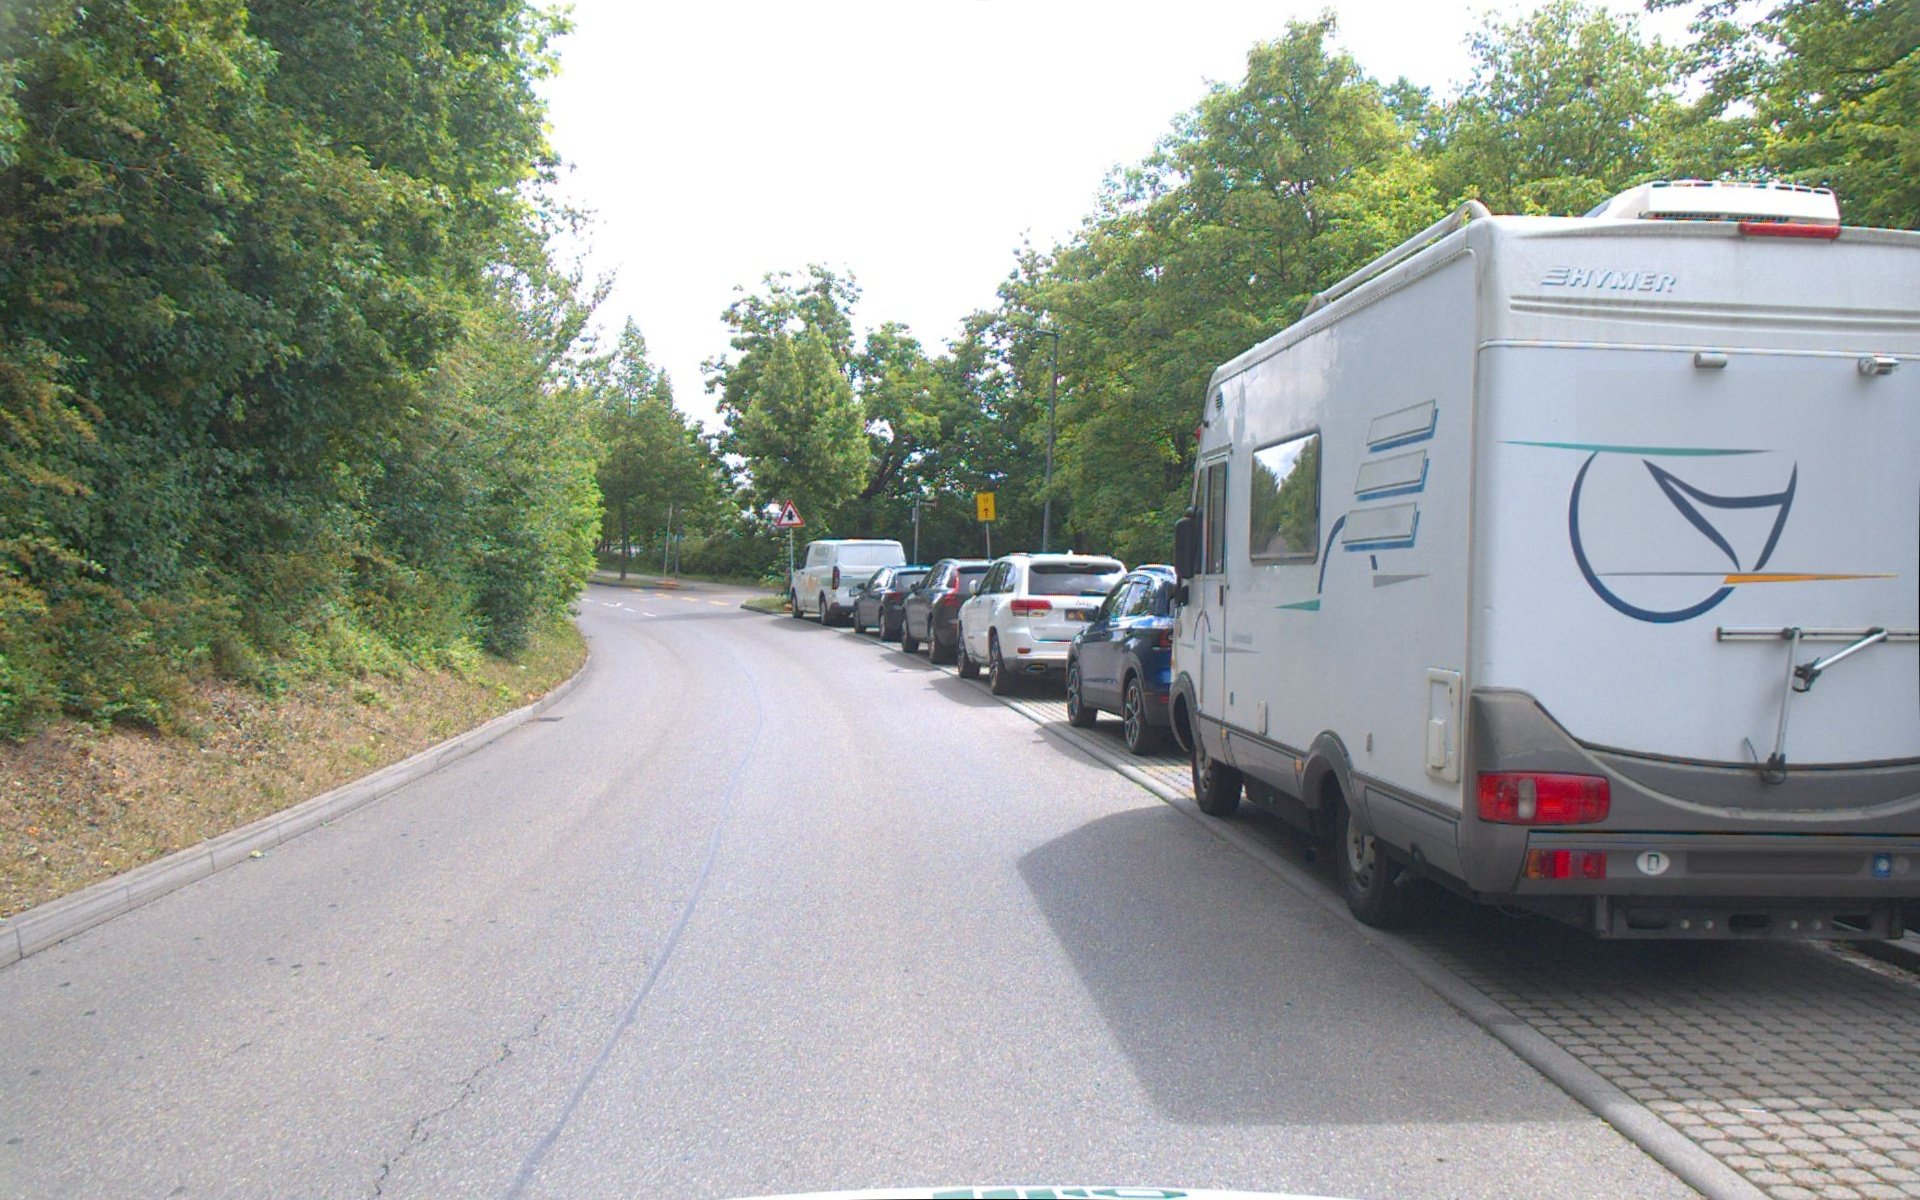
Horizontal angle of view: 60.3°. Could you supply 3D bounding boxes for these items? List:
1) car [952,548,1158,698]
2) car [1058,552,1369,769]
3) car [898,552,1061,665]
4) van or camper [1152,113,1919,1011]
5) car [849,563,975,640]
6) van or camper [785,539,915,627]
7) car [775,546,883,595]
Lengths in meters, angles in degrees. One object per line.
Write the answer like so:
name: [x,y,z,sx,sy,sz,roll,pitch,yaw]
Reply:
car: [1.127,0.216,21.869,1.836,1.718,4.572,2,1,-8]
car: [2.144,0.458,15.137,1.679,1.619,3.993,4,0,-8]
car: [0.233,0.066,27.816,1.957,1.654,4.268,-1,2,-10]
van or camper: [2.695,-0.141,8.564,2.286,2.919,6.147,2,1,-3]
car: [-1.056,-0.009,34.213,1.767,1.489,3.985,1,1,-14]
van or camper: [-2.740,-0.473,40.012,1.962,1.953,5.240,0,2,-18]
car: [-4.595,-1.037,57.872,3.477,1.506,1.775,2,3,-15]
